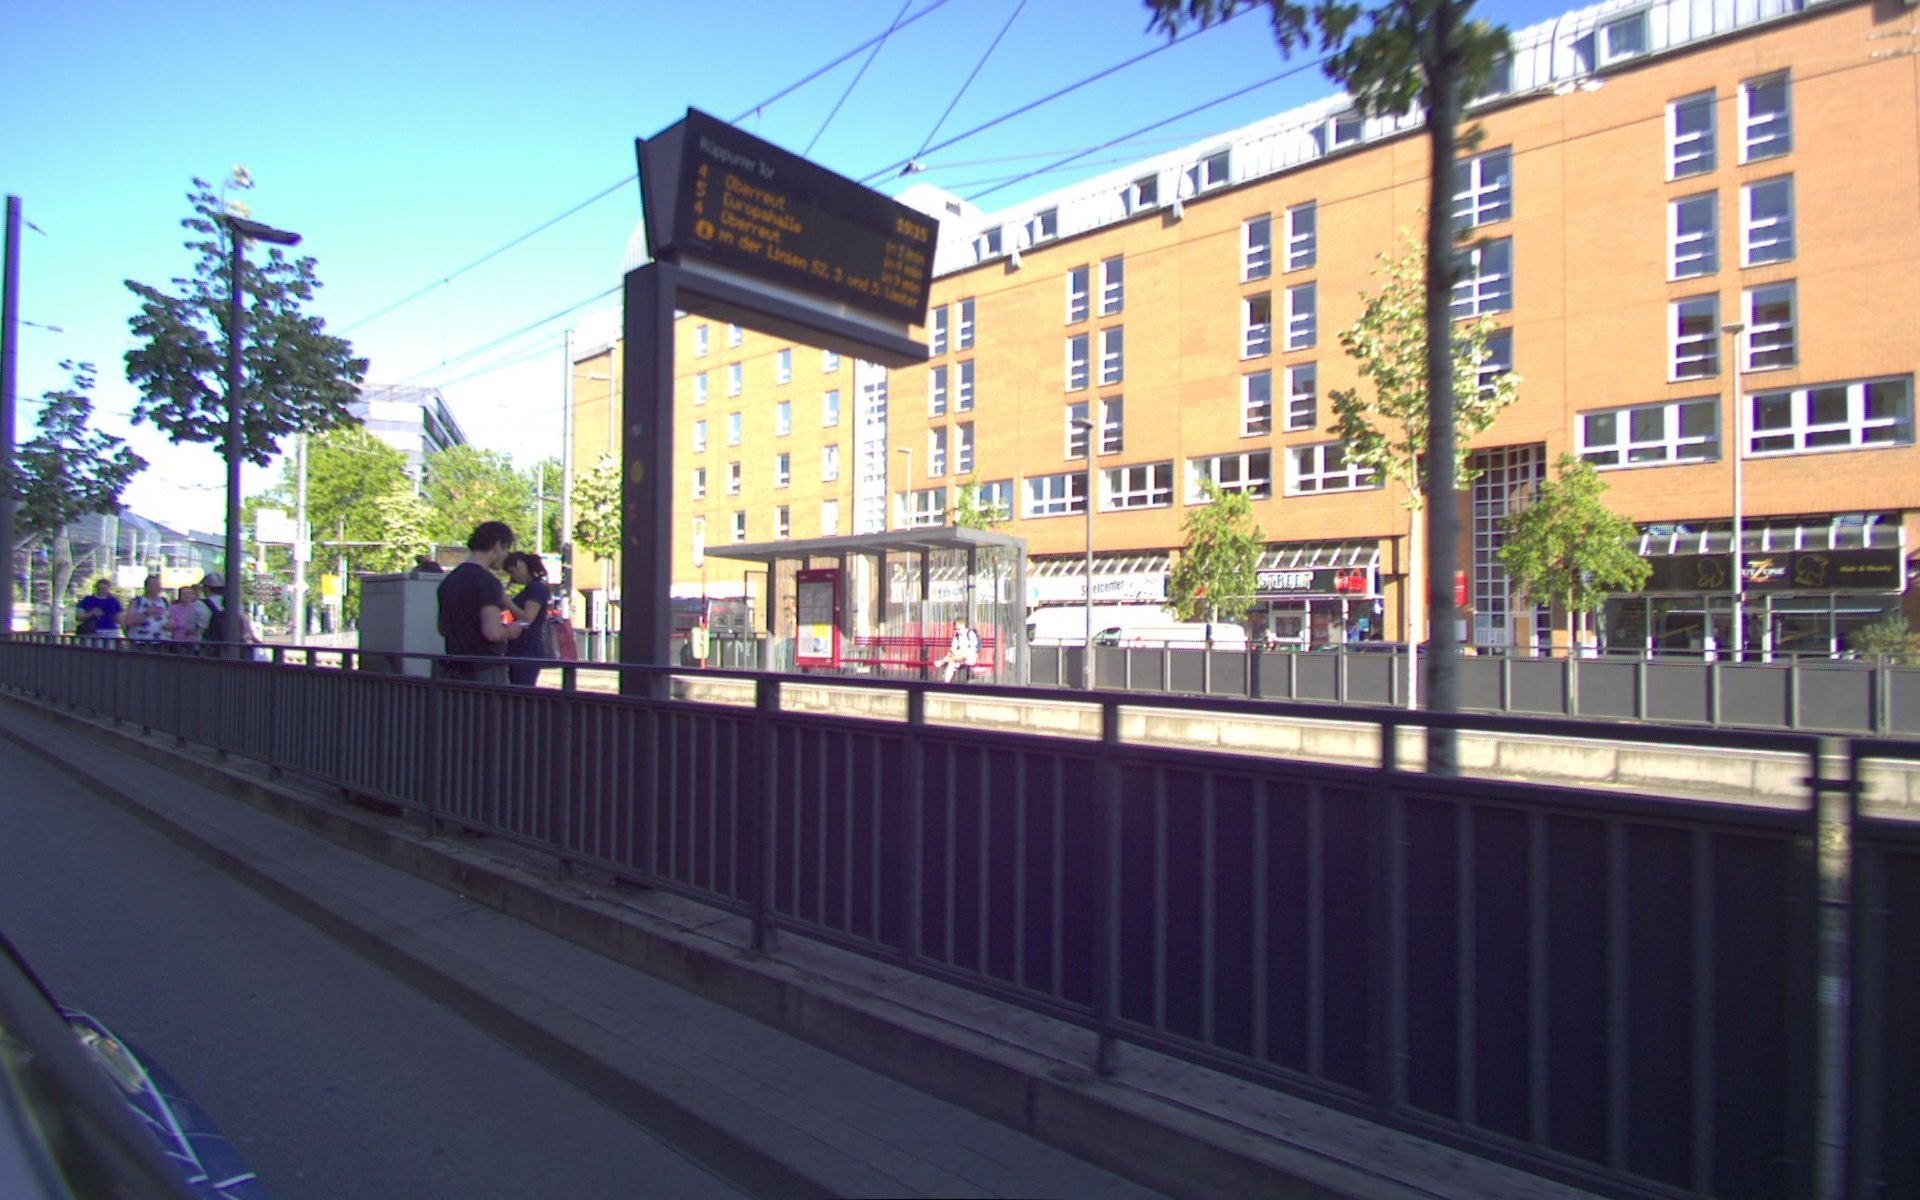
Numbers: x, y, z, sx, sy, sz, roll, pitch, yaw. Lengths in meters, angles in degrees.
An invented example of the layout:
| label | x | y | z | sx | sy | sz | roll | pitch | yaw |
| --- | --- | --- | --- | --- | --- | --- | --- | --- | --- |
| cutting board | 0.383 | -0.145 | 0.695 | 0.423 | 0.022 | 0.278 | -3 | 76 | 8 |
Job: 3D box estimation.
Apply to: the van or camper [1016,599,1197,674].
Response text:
| label | x | y | z | sx | sy | sz | roll | pitch | yaw |
| --- | --- | --- | --- | --- | --- | --- | --- | --- | --- |
| van or camper | 4.611 | 1.247 | 32.599 | 5.615 | 2.186 | 1.972 | -4 | -4 | 43 |

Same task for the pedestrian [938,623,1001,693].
| label | x | y | z | sx | sy | sz | roll | pitch | yaw |
| --- | --- | --- | --- | --- | --- | --- | --- | --- | --- |
| pedestrian | 0.171 | 1.004 | 17.850 | 0.906 | 1.199 | 0.666 | -1 | -3 | 41 |

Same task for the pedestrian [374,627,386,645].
| label | x | y | z | sx | sy | sz | roll | pitch | yaw |
| --- | --- | --- | --- | --- | --- | --- | --- | --- | --- |
| pedestrian | -58.671 | 3.642 | 102.330 | 0.879 | 1.778 | 0.732 | 3 | -4 | -40 |

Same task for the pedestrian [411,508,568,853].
| label | x | y | z | sx | sy | sz | roll | pitch | yaw |
| --- | --- | --- | --- | --- | --- | --- | --- | --- | --- |
| pedestrian | -2.496 | 0.401 | 5.372 | 0.651 | 1.691 | 0.499 | -1 | -3 | 41 |

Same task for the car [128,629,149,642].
| label | x | y | z | sx | sy | sz | roll | pitch | yaw |
| --- | --- | --- | --- | --- | --- | --- | --- | --- | --- |
| car | -90.417 | 3.898 | 111.422 | 1.666 | 1.439 | 4.006 | 2 | -3 | -41 |

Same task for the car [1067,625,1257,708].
| label | x | y | z | sx | sy | sz | roll | pitch | yaw |
| --- | --- | --- | --- | --- | --- | --- | --- | --- | --- |
| car | 4.964 | 1.613 | 25.251 | 4.316 | 1.881 | 1.865 | -3 | -4 | 44 |

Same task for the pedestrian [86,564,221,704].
| label | x | y | z | sx | sy | sz | roll | pitch | yaw |
| --- | --- | --- | --- | --- | --- | --- | --- | --- | --- |
| pedestrian | -10.186 | 0.430 | 12.836 | 0.876 | 1.685 | 1.098 | 1 | -2 | -9 |

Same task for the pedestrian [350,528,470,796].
| label | x | y | z | sx | sy | sz | roll | pitch | yaw |
| --- | --- | --- | --- | --- | --- | --- | --- | --- | --- |
| pedestrian | -3.811 | 0.415 | 7.011 | 0.651 | 1.745 | 0.499 | -1 | -3 | 41 |

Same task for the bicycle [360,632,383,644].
| label | x | y | z | sx | sy | sz | roll | pitch | yaw |
| --- | --- | --- | --- | --- | --- | --- | --- | --- | --- |
| bicycle | -57.827 | 3.765 | 99.461 | 1.816 | 1.138 | 0.776 | 2 | -3 | -44 |

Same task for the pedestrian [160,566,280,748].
| label | x | y | z | sx | sy | sz | roll | pitch | yaw |
| --- | --- | --- | --- | --- | --- | --- | --- | --- | --- |
| pedestrian | -6.785 | 0.506 | 9.277 | 0.906 | 1.574 | 0.666 | -1 | -3 | 41 |

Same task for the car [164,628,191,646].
| label | x | y | z | sx | sy | sz | roll | pitch | yaw |
| --- | --- | --- | --- | --- | --- | --- | --- | --- | --- |
| car | -113.159 | 5.396 | 146.410 | 1.965 | 2.499 | 5.993 | 1 | -3 | -27 |

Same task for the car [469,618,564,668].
| label | x | y | z | sx | sy | sz | roll | pitch | yaw |
| --- | --- | --- | --- | --- | --- | --- | --- | --- | --- |
| car | -21.691 | 2.050 | 49.385 | 5.260 | 2.306 | 2.058 | -1 | -3 | 40 |

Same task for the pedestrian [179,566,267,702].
| label | x | y | z | sx | sy | sz | roll | pitch | yaw |
| --- | --- | --- | --- | --- | --- | --- | --- | --- | --- |
| pedestrian | -9.409 | 0.435 | 12.942 | 0.648 | 1.685 | 0.673 | 1 | -2 | -13 |

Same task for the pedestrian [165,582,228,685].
| label | x | y | z | sx | sy | sz | roll | pitch | yaw |
| --- | --- | --- | --- | --- | --- | --- | --- | --- | --- |
| pedestrian | -11.590 | 0.504 | 15.358 | 0.674 | 1.494 | 0.830 | 2 | -2 | -41 |

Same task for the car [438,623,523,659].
| label | x | y | z | sx | sy | sz | roll | pitch | yaw |
| --- | --- | --- | --- | --- | --- | --- | --- | --- | --- |
| car | -21.218 | 1.834 | 44.768 | 3.996 | 1.544 | 1.867 | -2 | -4 | 39 |

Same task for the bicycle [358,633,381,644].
| label | x | y | z | sx | sy | sz | roll | pitch | yaw |
| --- | --- | --- | --- | --- | --- | --- | --- | --- | --- |
| bicycle | -58.376 | 3.798 | 100.110 | 1.816 | 1.138 | 0.776 | 2 | -3 | -44 |

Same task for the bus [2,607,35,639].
| label | x | y | z | sx | sy | sz | roll | pitch | yaw |
| --- | --- | --- | --- | --- | --- | --- | --- | --- | --- |
| bus | -110.926 | 2.775 | 119.312 | 2.685 | 3.434 | 9.678 | 2 | -4 | -43 |

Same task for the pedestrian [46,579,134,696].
| label | x | y | z | sx | sy | sz | roll | pitch | yaw |
| --- | --- | --- | --- | --- | --- | --- | --- | --- | --- |
| pedestrian | -13.028 | 0.560 | 15.183 | 0.876 | 1.685 | 0.673 | 2 | -3 | -34 |

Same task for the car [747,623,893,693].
| label | x | y | z | sx | sy | sz | roll | pitch | yaw |
| --- | --- | --- | --- | --- | --- | --- | --- | --- | --- |
| car | -4.129 | 1.677 | 29.487 | 4.313 | 1.881 | 1.866 | -3 | -4 | 41 |

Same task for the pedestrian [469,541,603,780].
| label | x | y | z | sx | sy | sz | roll | pitch | yaw |
| --- | --- | --- | --- | --- | --- | --- | --- | --- | --- |
| pedestrian | -3.295 | 0.454 | 7.878 | 0.651 | 1.745 | 0.712 | -1 | -3 | 40 |

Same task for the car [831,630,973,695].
| label | x | y | z | sx | sy | sz | roll | pitch | yaw |
| --- | --- | --- | --- | --- | --- | --- | --- | --- | --- |
| car | -1.844 | 1.903 | 31.251 | 4.312 | 1.881 | 1.866 | -3 | -4 | 40 |

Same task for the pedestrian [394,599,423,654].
| label | x | y | z | sx | sy | sz | roll | pitch | yaw |
| --- | --- | --- | --- | --- | --- | --- | --- | --- | --- |
| pedestrian | -17.261 | 0.833 | 31.679 | 0.668 | 1.696 | 0.577 | 1 | -2 | -16 |

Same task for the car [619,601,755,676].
| label | x | y | z | sx | sy | sz | roll | pitch | yaw |
| --- | --- | --- | --- | --- | --- | --- | --- | --- | --- |
| car | -9.311 | 1.282 | 34.339 | 4.917 | 2.376 | 2.024 | -1 | -3 | 40 |
